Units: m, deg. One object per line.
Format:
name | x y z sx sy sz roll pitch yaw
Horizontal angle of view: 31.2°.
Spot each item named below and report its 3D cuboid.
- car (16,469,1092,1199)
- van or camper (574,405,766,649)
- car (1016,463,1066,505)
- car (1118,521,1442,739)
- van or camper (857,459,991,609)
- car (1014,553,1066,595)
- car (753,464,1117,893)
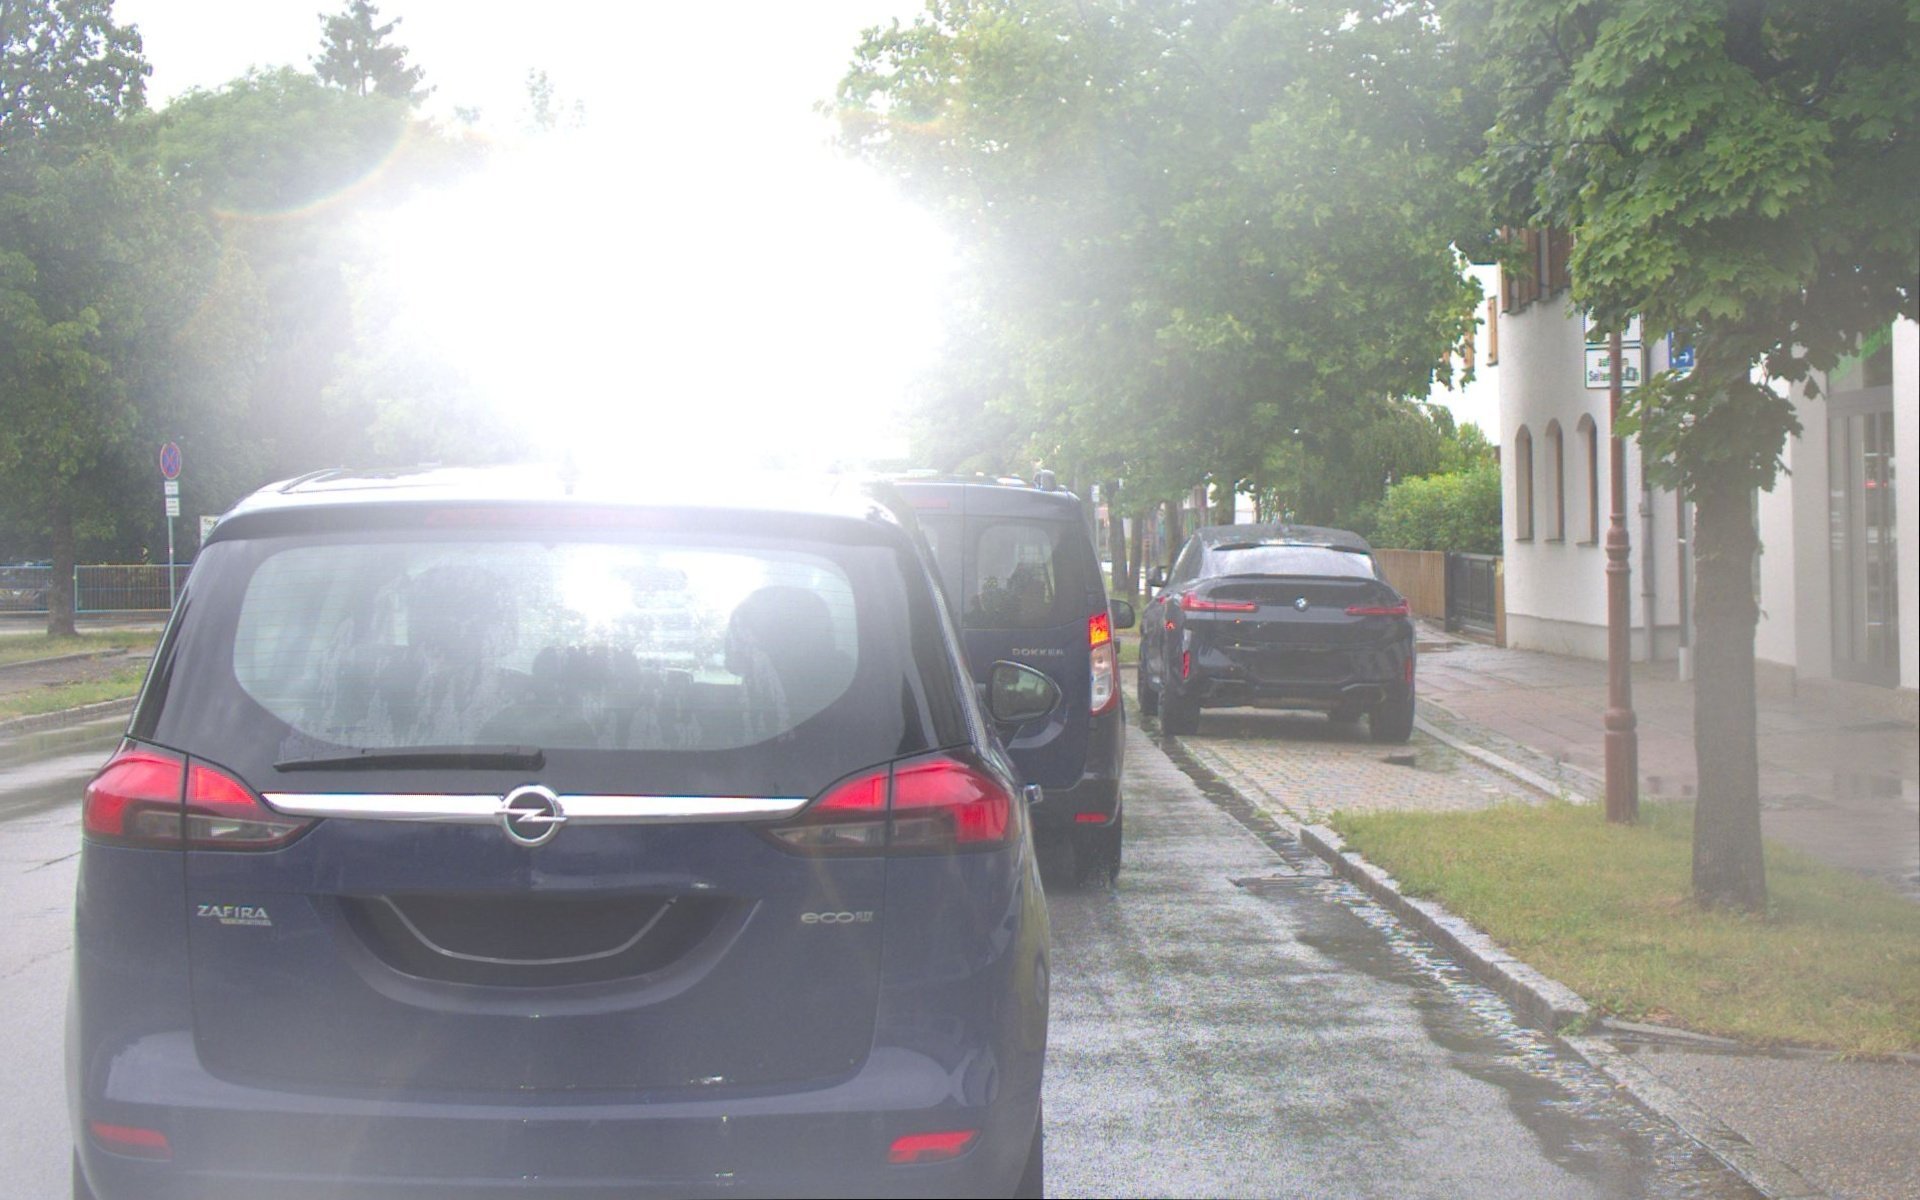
car | -0.685 0.557 7.508 1.768 1.599 3.663 0 1 0
van or camper | -3.489 -0.880 41.628 2.094 2.698 6.270 -1 1 -4
car | 2.941 -4.215 125.229 1.630 1.373 3.623 -2 1 -1
car | 2.440 0.198 27.234 2.117 1.576 3.936 1 1 -1
van or camper | -0.660 -1.231 64.352 2.360 2.656 5.372 -1 1 0
car | 2.684 -0.884 115.974 1.630 1.373 3.623 0 0 -1
car | -0.115 0.300 15.848 1.500 1.770 3.112 1 1 0
